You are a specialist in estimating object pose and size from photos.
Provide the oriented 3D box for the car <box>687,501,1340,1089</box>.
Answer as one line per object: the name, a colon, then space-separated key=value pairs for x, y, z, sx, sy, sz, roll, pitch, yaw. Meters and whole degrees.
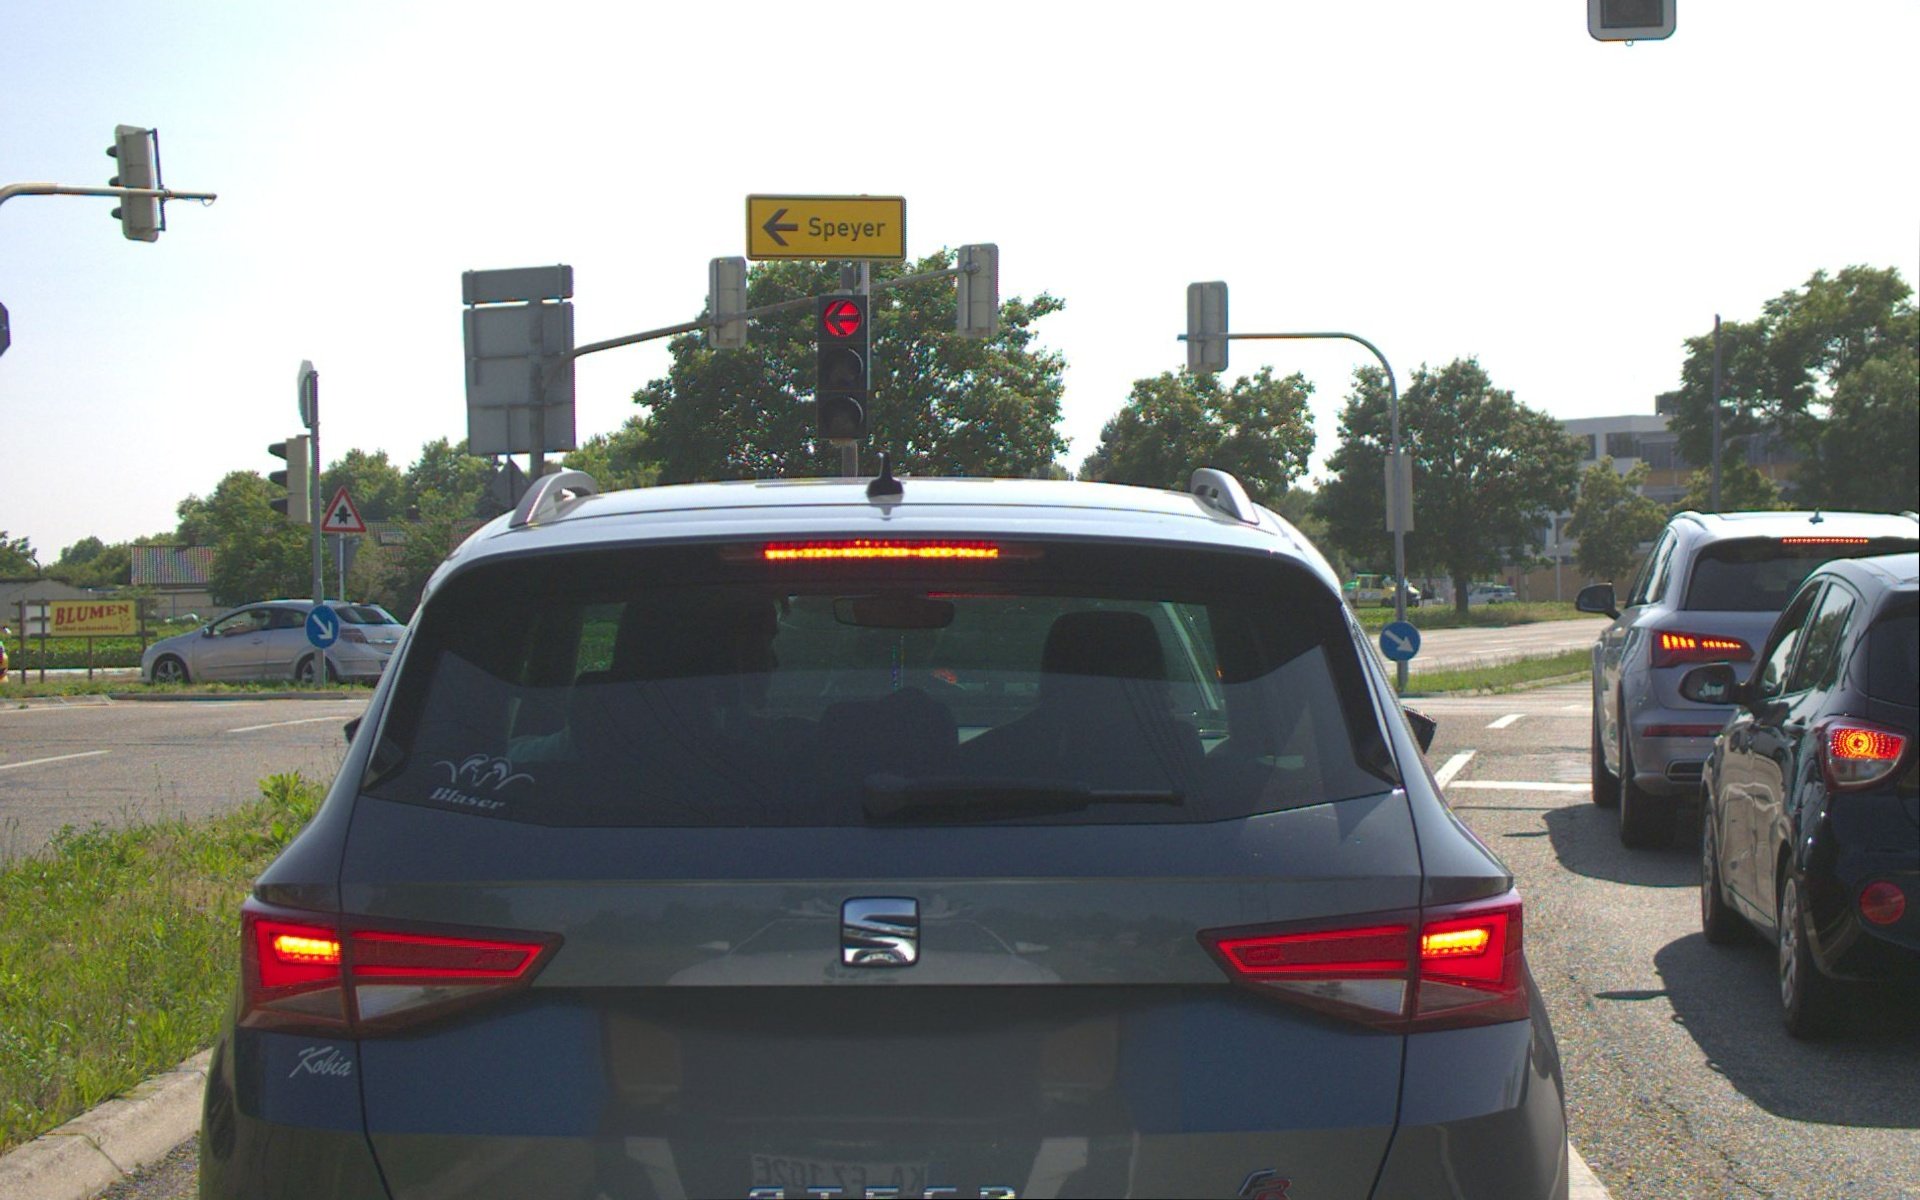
car: x=0.155 y=0.513 z=11.136 sx=1.742 sy=1.563 sz=3.624 roll=1 pitch=0 yaw=0

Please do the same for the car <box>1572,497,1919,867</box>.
car: x=4.086 y=0.353 z=17.553 sx=1.633 sy=1.671 sz=3.749 roll=1 pitch=1 yaw=6

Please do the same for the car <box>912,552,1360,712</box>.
car: x=1.674 y=0.273 z=32.770 sx=3.898 sy=1.460 sz=1.724 roll=0 pitch=1 yaw=-22

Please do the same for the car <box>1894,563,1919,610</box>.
car: x=32.380 y=-0.430 z=113.539 sx=1.715 sy=1.543 sz=3.603 roll=2 pitch=1 yaw=38

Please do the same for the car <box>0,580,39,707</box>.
car: x=-14.371 y=0.587 z=45.548 sx=3.993 sy=1.645 sz=1.817 roll=0 pitch=1 yaw=28

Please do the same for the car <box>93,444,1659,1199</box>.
car: x=-0.120 y=0.607 z=5.671 sx=1.742 sy=1.563 sz=3.624 roll=1 pitch=0 yaw=-1

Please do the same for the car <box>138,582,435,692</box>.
car: x=-9.693 y=0.517 z=49.480 sx=3.873 sy=1.514 sz=1.805 roll=0 pitch=1 yaw=26

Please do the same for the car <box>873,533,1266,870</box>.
car: x=0.640 y=0.439 z=17.257 sx=1.742 sy=1.479 sz=3.623 roll=1 pitch=0 yaw=5

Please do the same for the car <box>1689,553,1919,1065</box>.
car: x=3.403 y=0.577 z=11.315 sx=1.633 sy=1.443 sz=3.294 roll=1 pitch=1 yaw=6
